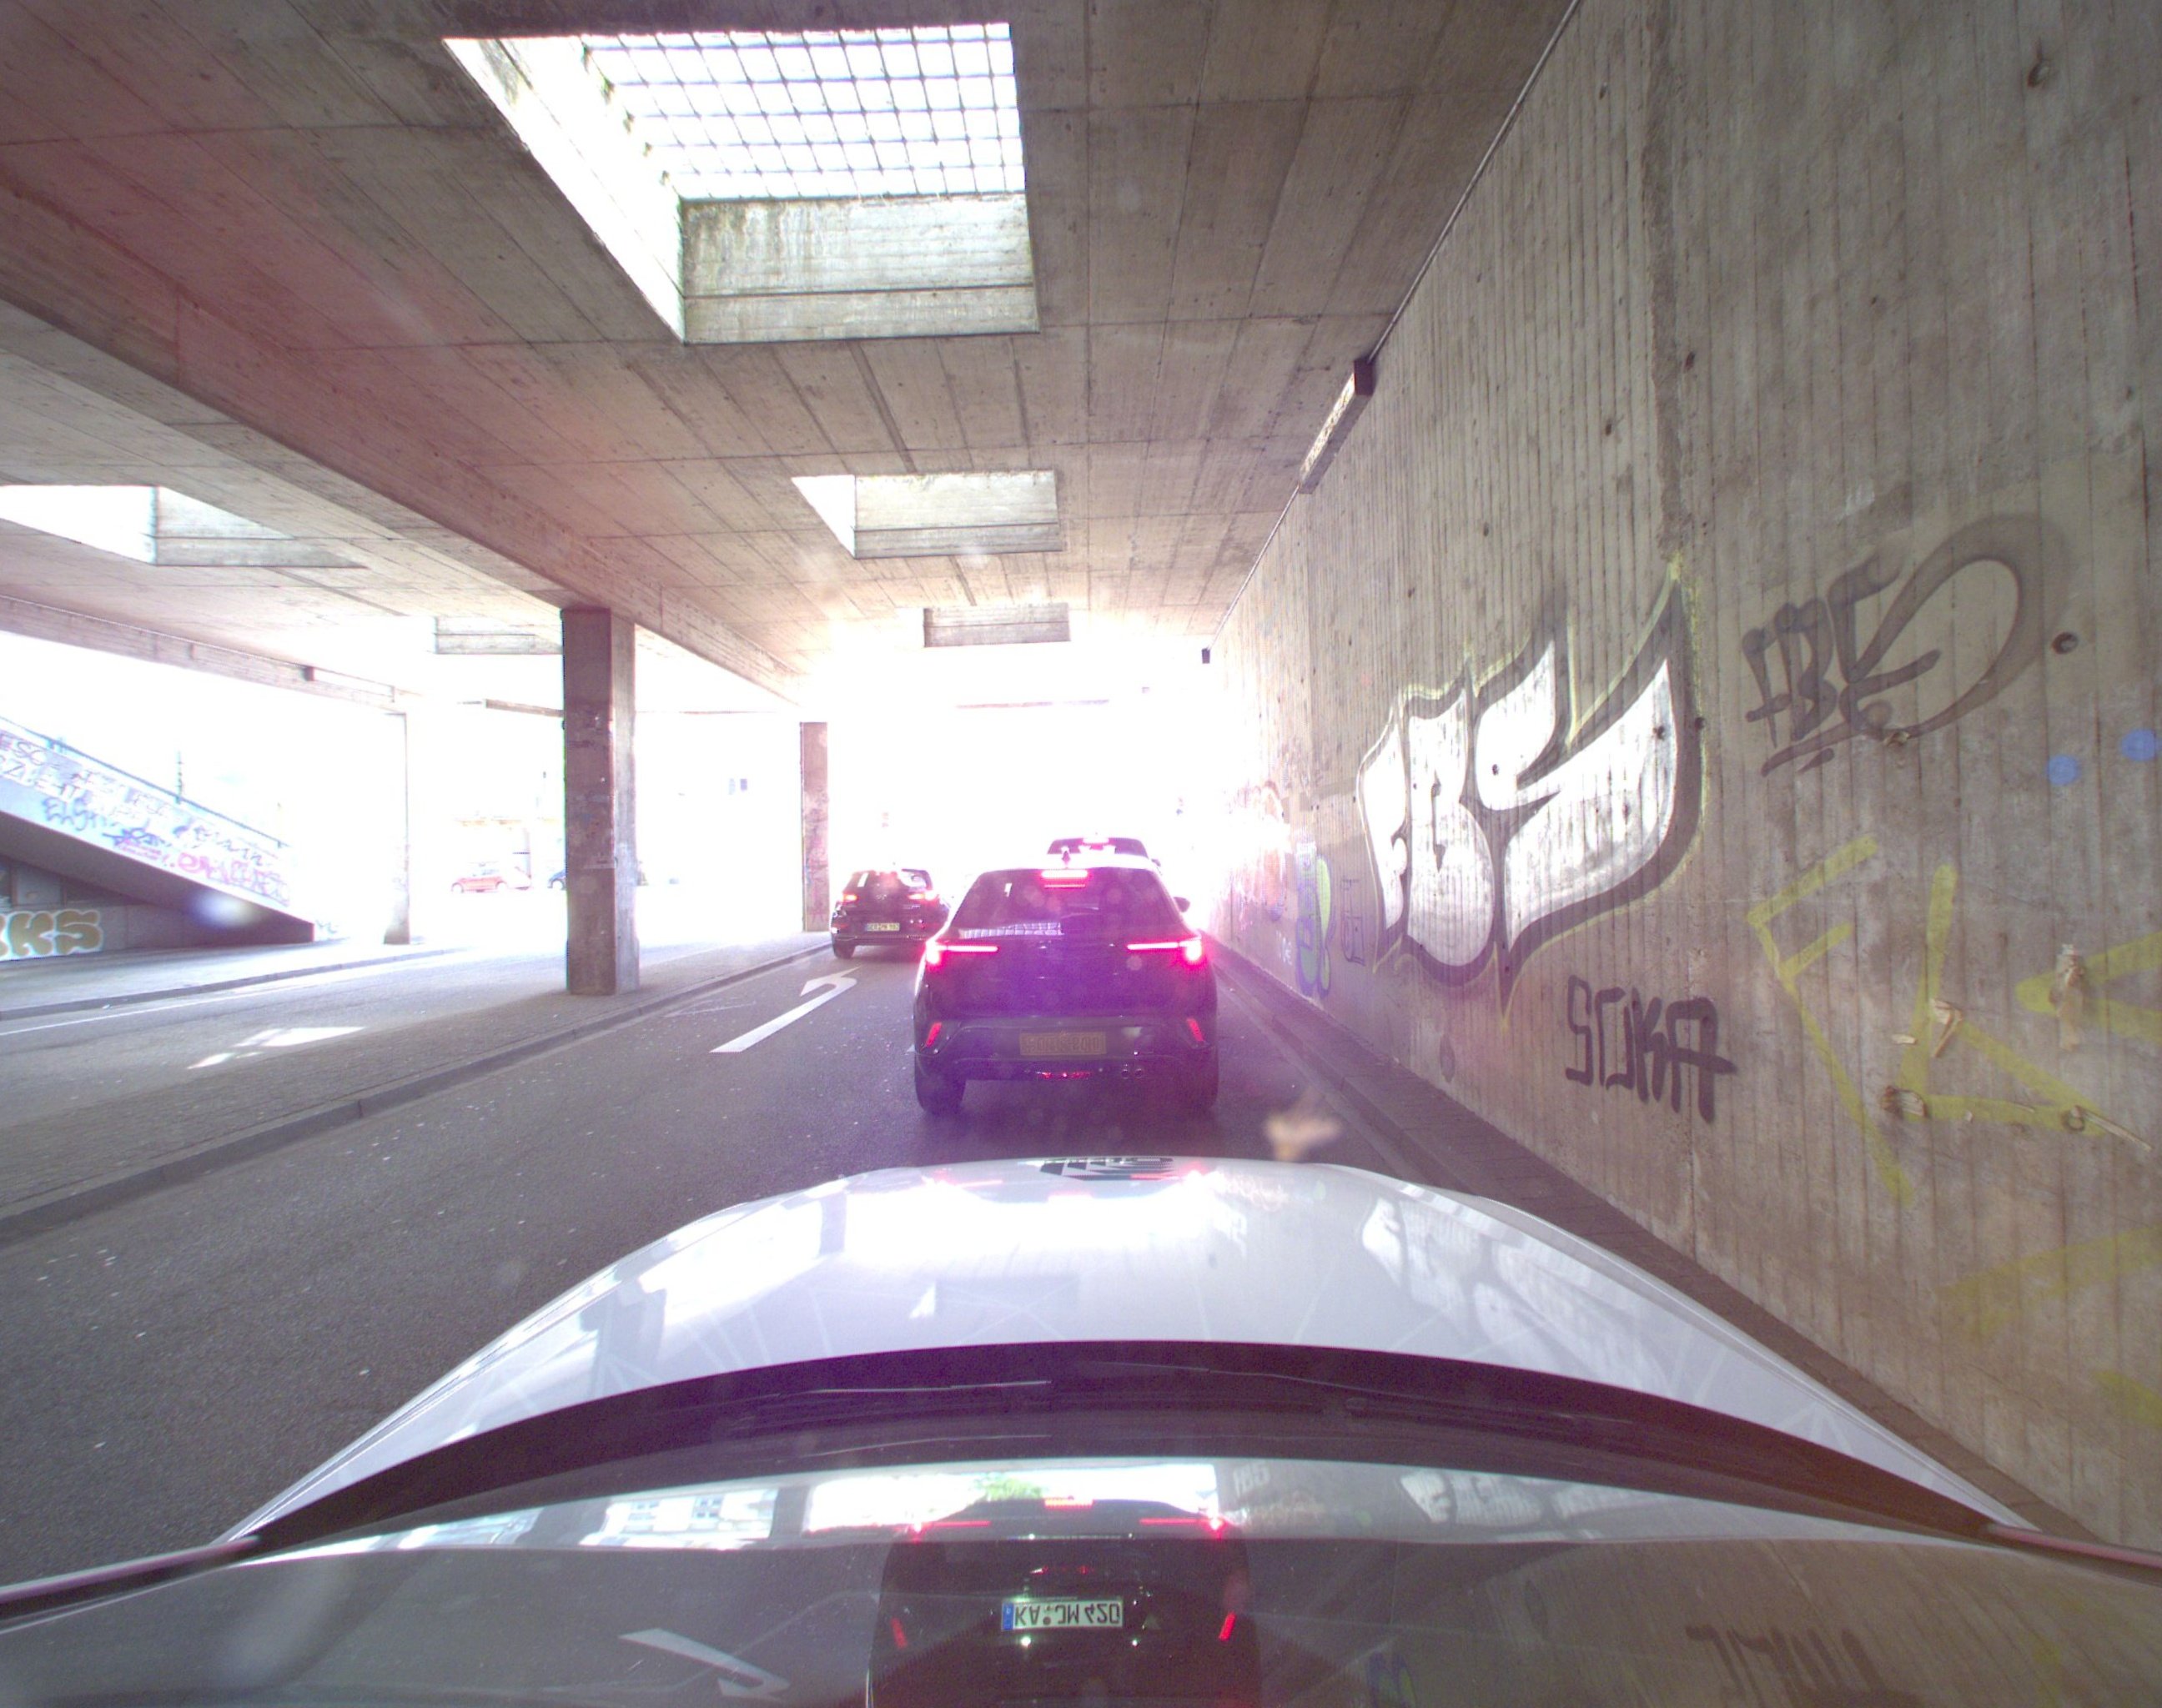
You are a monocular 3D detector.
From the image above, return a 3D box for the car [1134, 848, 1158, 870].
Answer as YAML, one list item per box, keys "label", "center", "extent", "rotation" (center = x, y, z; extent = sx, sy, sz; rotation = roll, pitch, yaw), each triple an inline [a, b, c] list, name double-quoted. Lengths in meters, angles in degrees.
- label: "car"
  center: [4.971, 0.375, 62.258]
  extent: [1.745, 1.667, 3.950]
  rotation: [0, -1, 6]

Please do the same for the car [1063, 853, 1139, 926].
- label: "car"
  center: [0.491, 0.760, 19.389]
  extent: [1.603, 1.513, 4.055]
  rotation: [-1, 0, 2]

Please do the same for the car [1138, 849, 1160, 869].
- label: "car"
  center: [5.759, 0.418, 68.362]
  extent: [1.745, 1.667, 3.950]
  rotation: [0, -1, 6]

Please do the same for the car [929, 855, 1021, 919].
- label: "car"
  center: [-2.661, 0.795, 21.219]
  extent: [1.755, 1.480, 3.846]
  rotation: [-1, 0, 2]

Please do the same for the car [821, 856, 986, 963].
- label: "car"
  center: [-2.751, 0.799, 13.491]
  extent: [1.755, 1.480, 3.846]
  rotation: [-1, 0, 2]

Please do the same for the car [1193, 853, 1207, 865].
- label: "car"
  center: [17.966, 0.772, 123.098]
  extent: [1.742, 1.667, 3.958]
  rotation: [-1, -1, 13]

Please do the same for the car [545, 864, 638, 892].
- label: "car"
  center: [-27.171, 1.323, 45.301]
  extent: [4.096, 1.475, 1.737]
  rotation: [-1, -1, 0]

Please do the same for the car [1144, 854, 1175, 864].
- label: "car"
  center: [12.855, 0.847, 133.693]
  extent: [4.814, 1.667, 1.812]
  rotation: [0, -1, -19]

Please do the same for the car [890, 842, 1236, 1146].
- label: "car"
  center: [-0.031, 0.726, 6.232]
  extent: [1.755, 1.531, 4.091]
  rotation: [-1, 0, 2]

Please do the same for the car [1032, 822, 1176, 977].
- label: "car"
  center: [0.355, 0.565, 12.171]
  extent: [1.755, 1.883, 4.148]
  rotation: [-1, 0, 2]

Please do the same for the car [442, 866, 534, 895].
- label: "car"
  center: [-32.927, 1.447, 45.279]
  extent: [3.748, 1.475, 1.749]
  rotation: [-1, -1, 0]
